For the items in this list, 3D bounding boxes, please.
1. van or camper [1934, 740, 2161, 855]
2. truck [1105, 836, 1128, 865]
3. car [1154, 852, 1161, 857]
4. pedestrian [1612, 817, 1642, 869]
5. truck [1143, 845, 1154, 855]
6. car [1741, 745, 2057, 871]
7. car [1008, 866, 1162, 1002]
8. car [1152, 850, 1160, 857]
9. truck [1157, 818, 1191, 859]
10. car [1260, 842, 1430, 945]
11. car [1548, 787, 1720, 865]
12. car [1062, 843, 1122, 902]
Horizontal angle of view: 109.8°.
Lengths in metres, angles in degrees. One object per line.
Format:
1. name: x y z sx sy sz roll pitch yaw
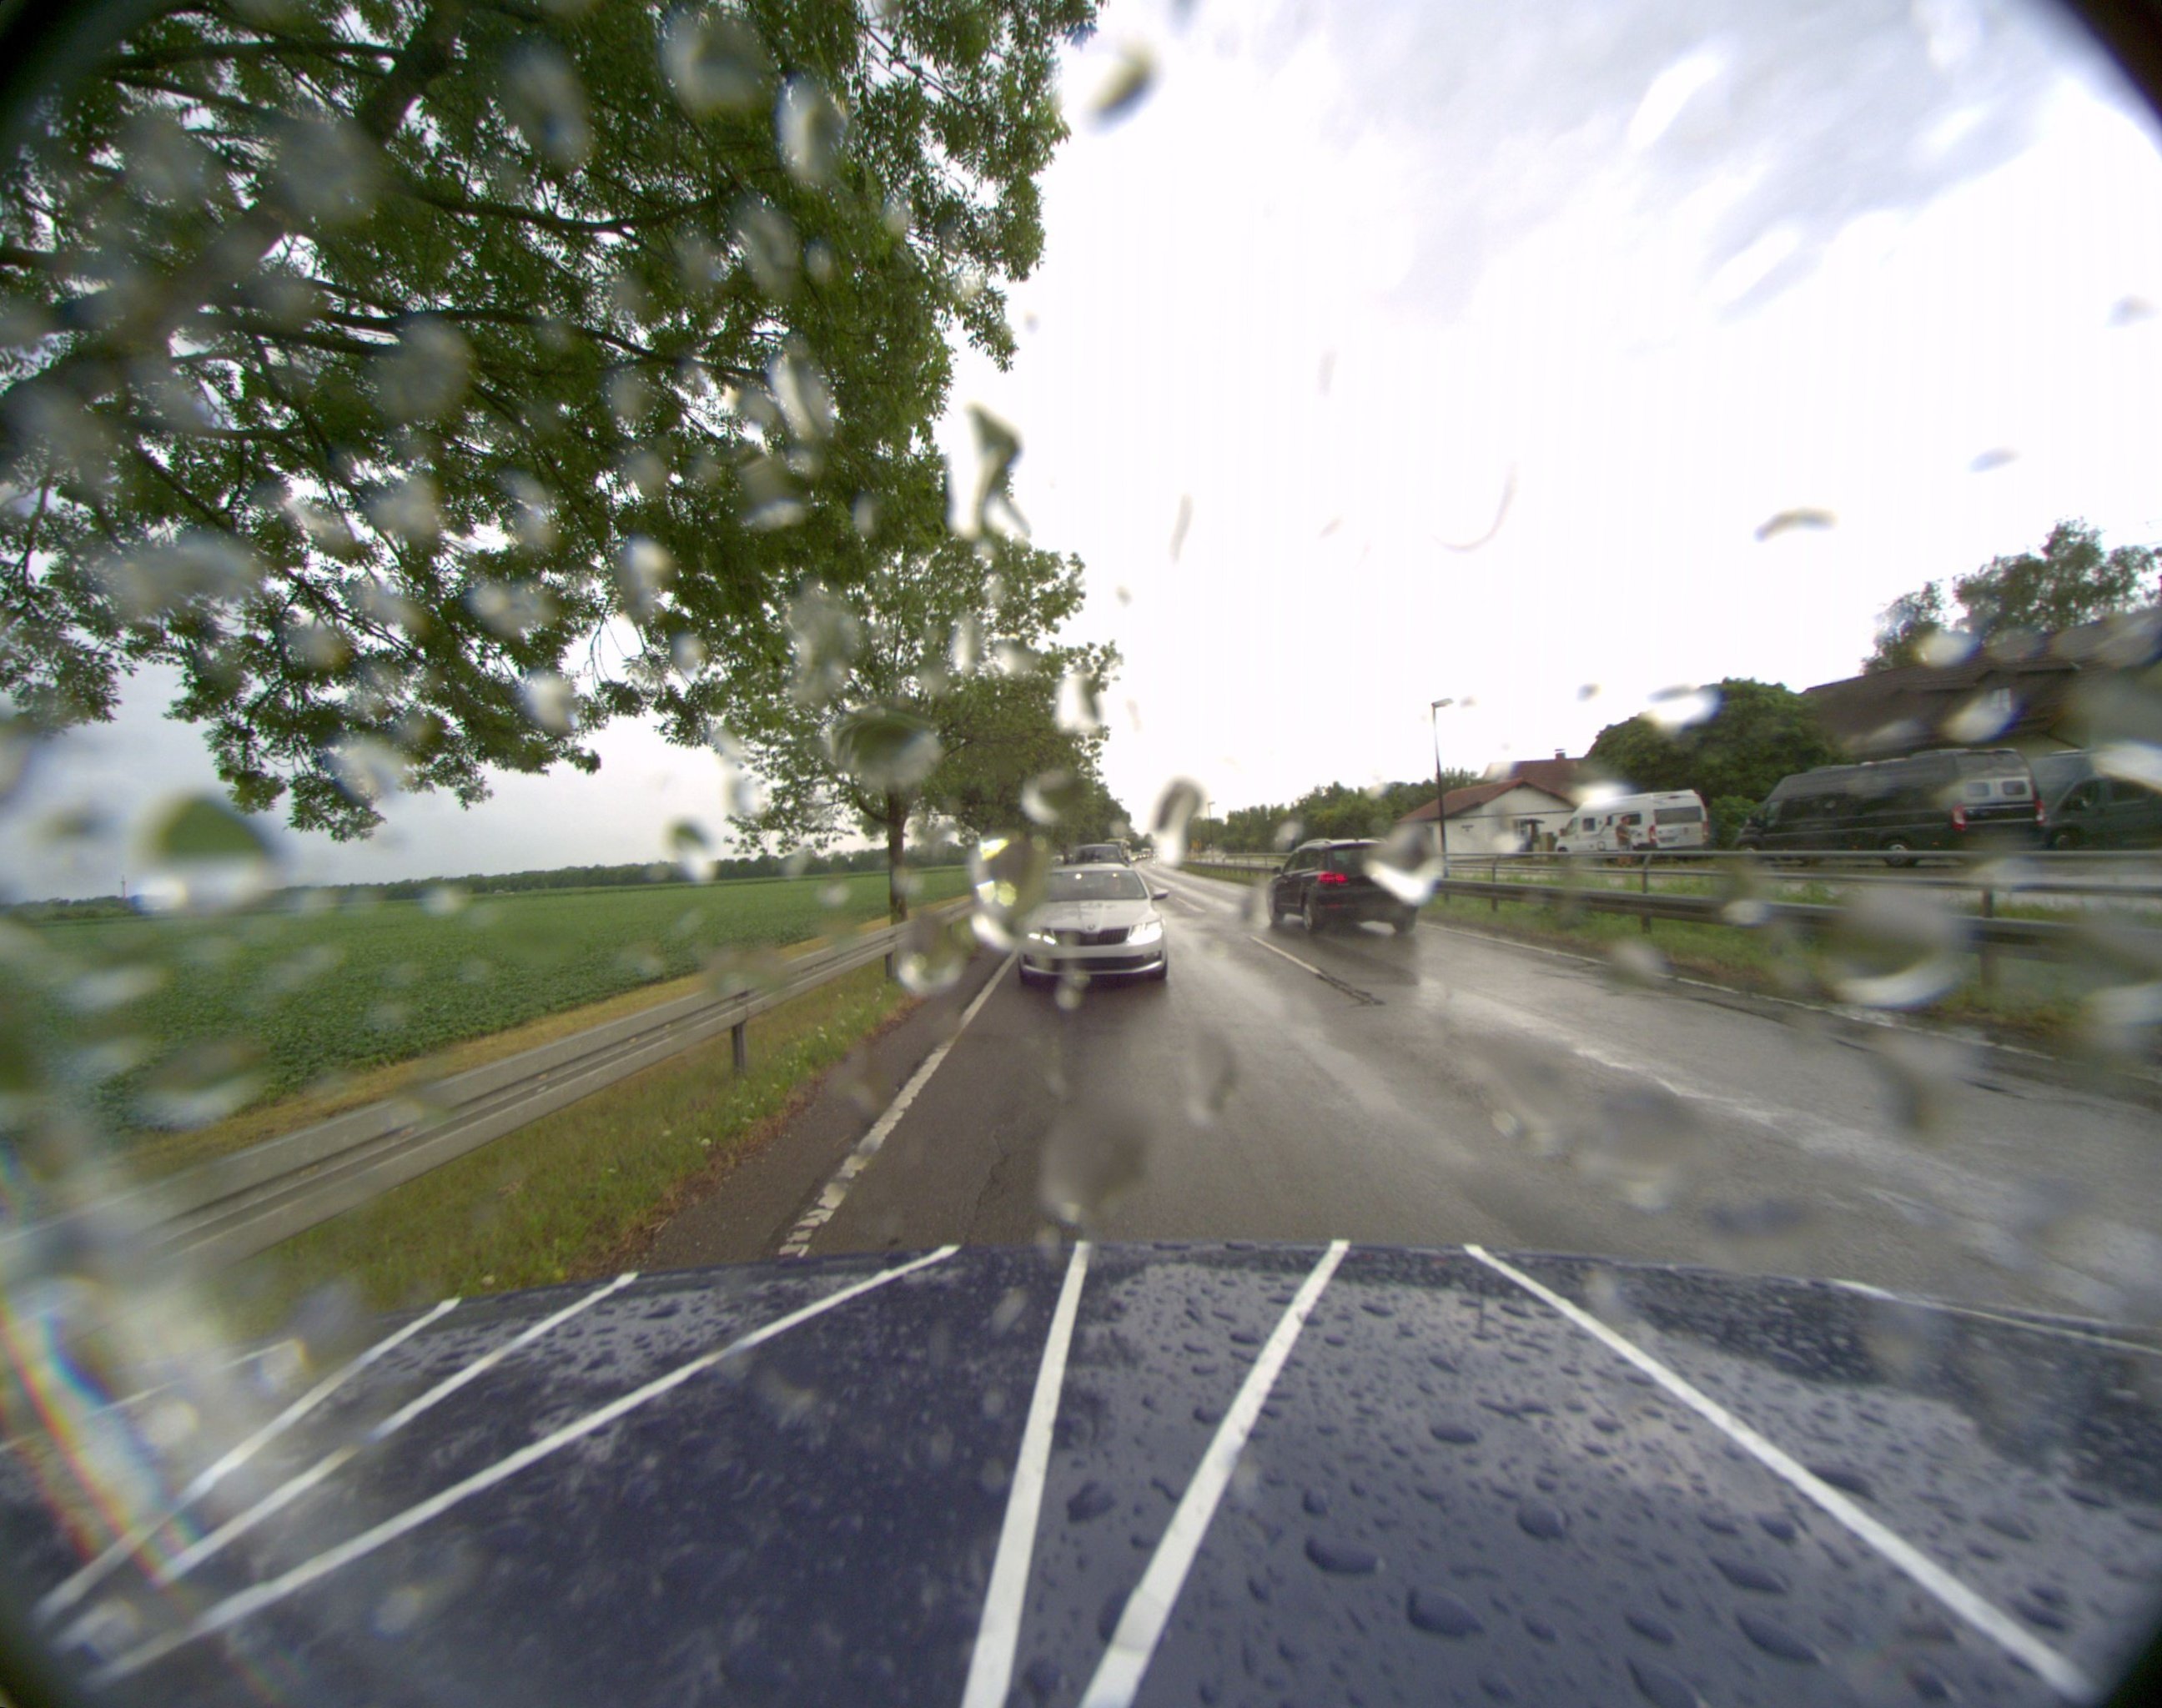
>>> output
1. van or camper: 28.047 -1.557 21.029 6.068 2.785 2.434 -4 0 -1
2. truck: 4.716 -0.507 101.397 2.751 3.547 8.387 -4 0 2
3. car: 24.223 0.136 240.441 1.811 1.723 4.027 -4 0 0
4. pedestrian: 18.473 -0.364 25.714 0.516 1.701 0.650 -4 1 9
5. truck: 18.826 -1.124 211.257 2.800 2.461 7.169 -4 0 4
6. car: 21.307 -1.072 20.336 2.389 2.747 5.573 -4 0 1
7. car: 0.062 0.936 10.580 1.705 1.438 4.000 -1 0 0
8. car: 22.476 -0.170 228.677 1.998 2.002 4.100 -4 0 1
9. truck: 12.124 -1.937 99.646 3.256 5.004 7.783 -4 0 0
10. car: 4.711 0.637 14.217 1.768 1.610 4.000 -2 0 0
11. car: 21.105 -0.973 29.468 2.243 2.565 6.019 -4 0 1
12. car: 0.385 0.601 26.788 1.903 1.884 4.000 -1 0 0
